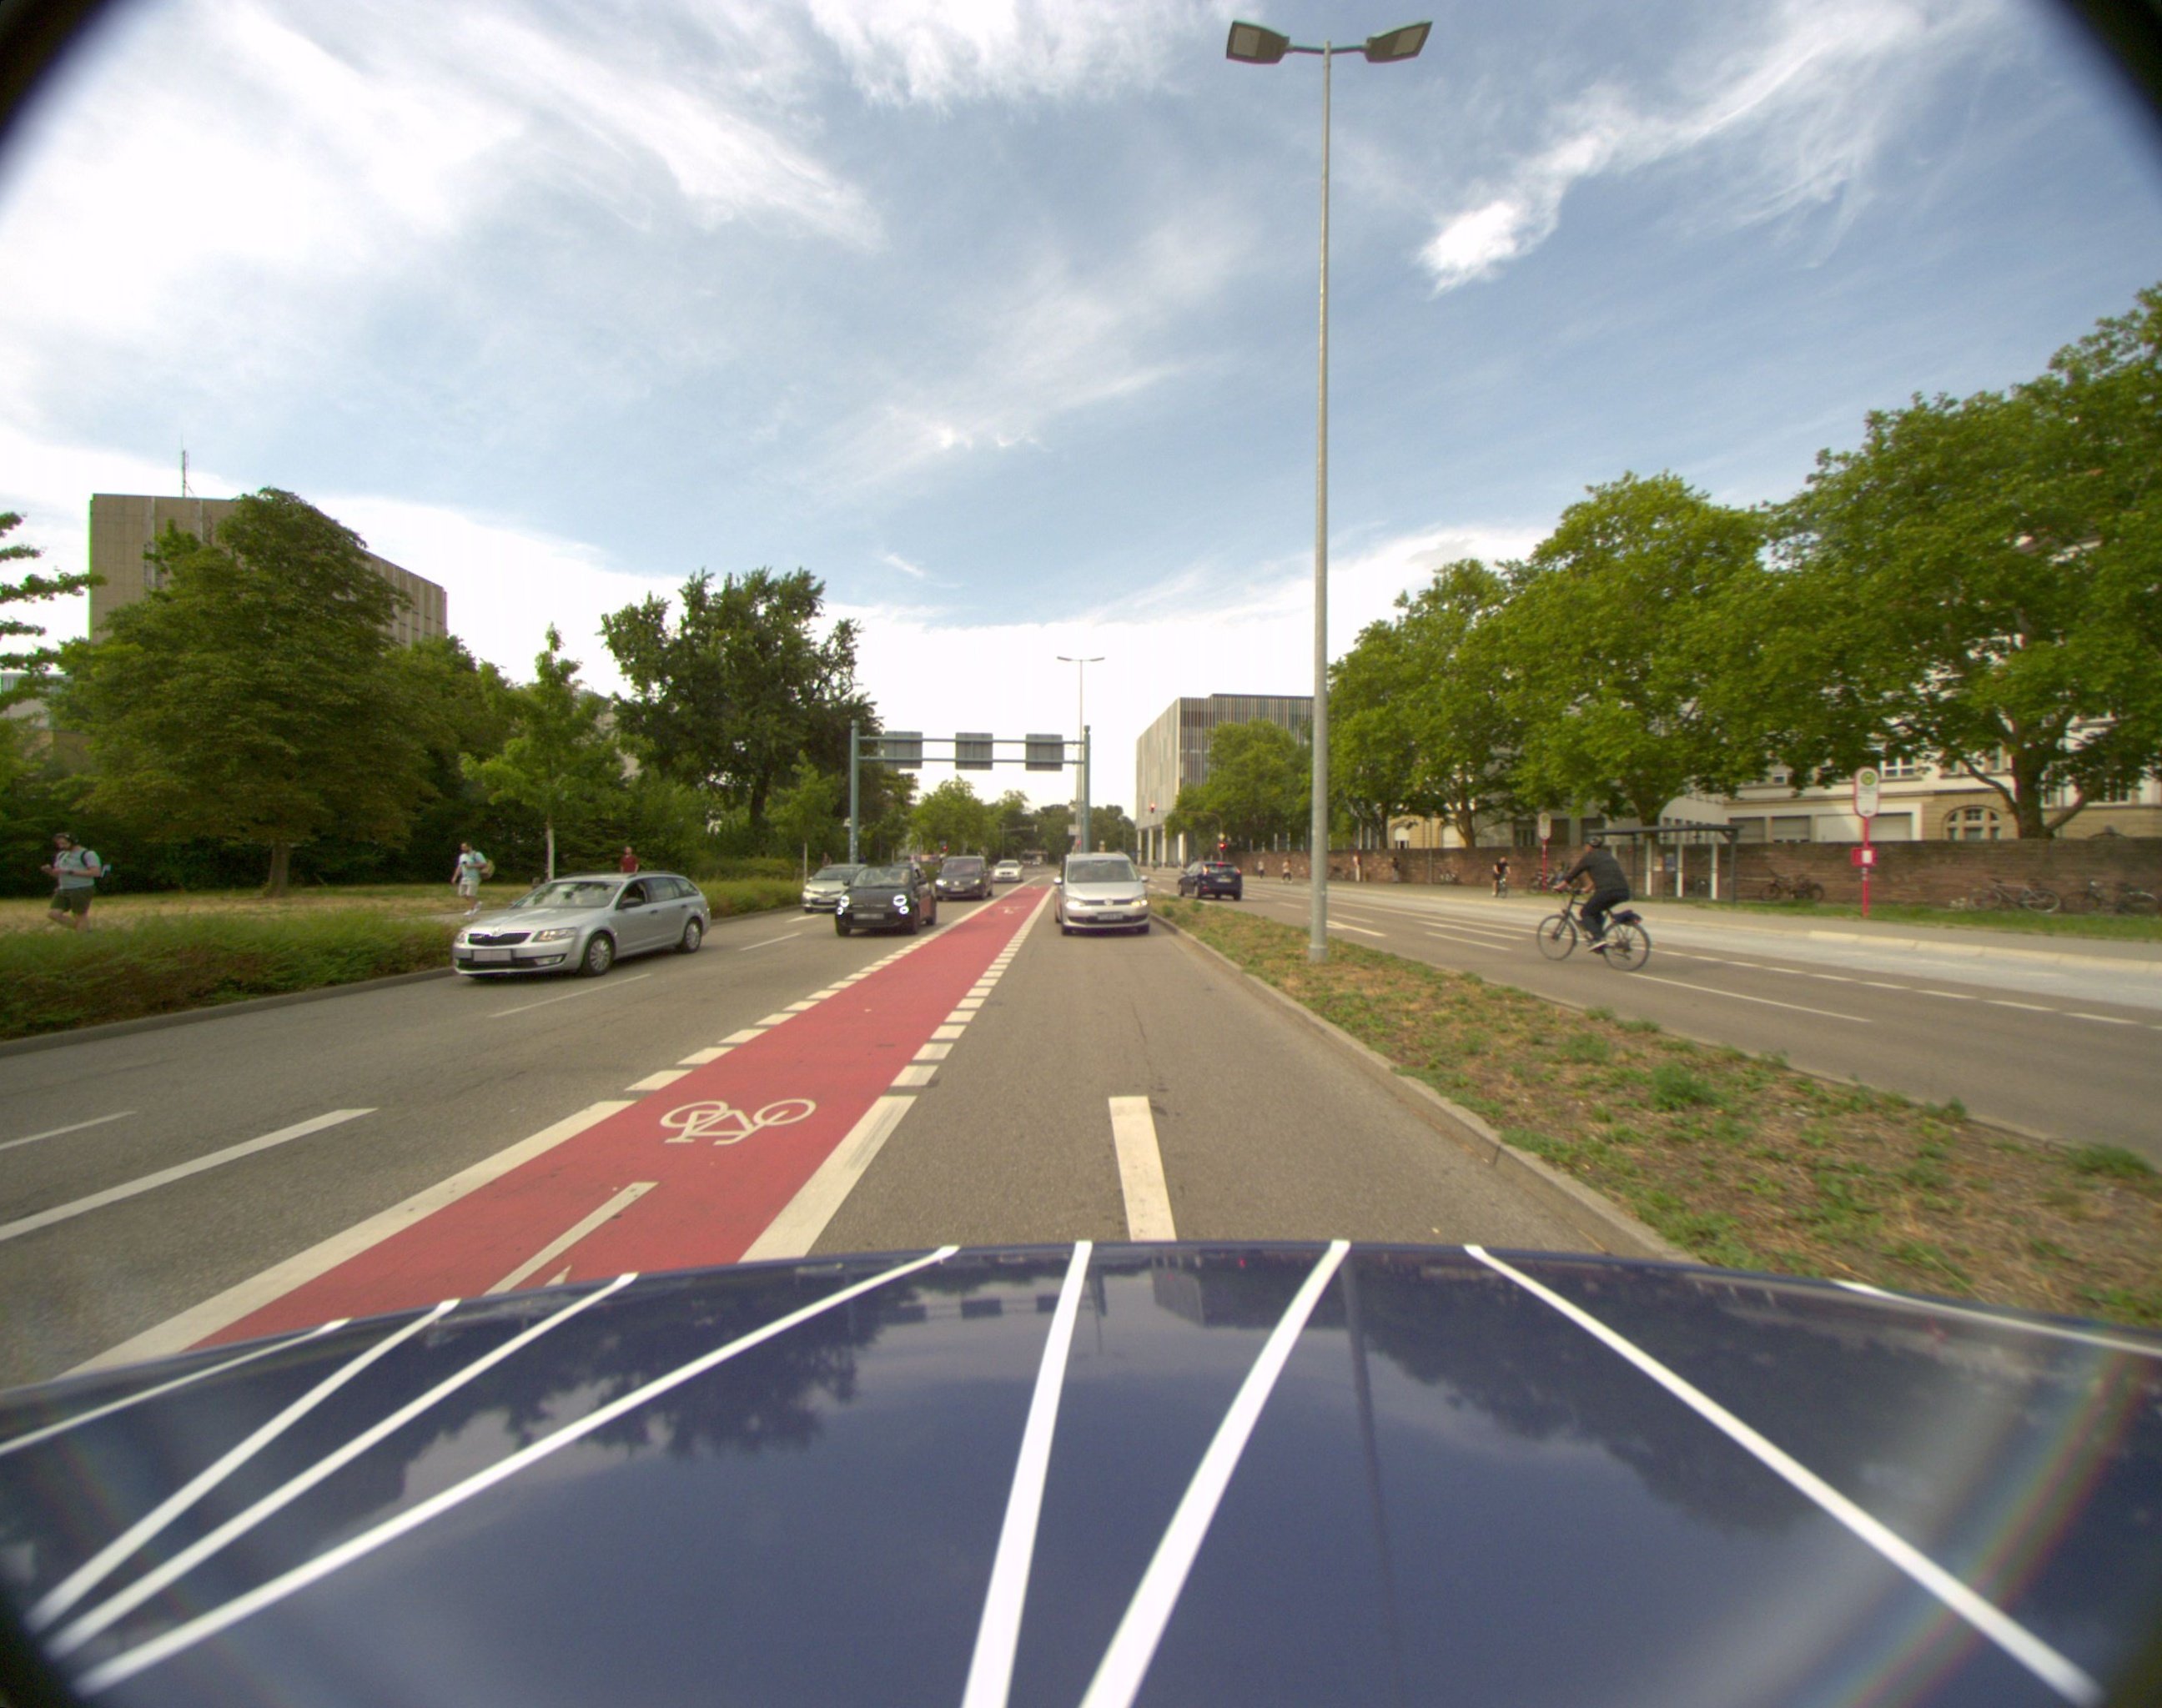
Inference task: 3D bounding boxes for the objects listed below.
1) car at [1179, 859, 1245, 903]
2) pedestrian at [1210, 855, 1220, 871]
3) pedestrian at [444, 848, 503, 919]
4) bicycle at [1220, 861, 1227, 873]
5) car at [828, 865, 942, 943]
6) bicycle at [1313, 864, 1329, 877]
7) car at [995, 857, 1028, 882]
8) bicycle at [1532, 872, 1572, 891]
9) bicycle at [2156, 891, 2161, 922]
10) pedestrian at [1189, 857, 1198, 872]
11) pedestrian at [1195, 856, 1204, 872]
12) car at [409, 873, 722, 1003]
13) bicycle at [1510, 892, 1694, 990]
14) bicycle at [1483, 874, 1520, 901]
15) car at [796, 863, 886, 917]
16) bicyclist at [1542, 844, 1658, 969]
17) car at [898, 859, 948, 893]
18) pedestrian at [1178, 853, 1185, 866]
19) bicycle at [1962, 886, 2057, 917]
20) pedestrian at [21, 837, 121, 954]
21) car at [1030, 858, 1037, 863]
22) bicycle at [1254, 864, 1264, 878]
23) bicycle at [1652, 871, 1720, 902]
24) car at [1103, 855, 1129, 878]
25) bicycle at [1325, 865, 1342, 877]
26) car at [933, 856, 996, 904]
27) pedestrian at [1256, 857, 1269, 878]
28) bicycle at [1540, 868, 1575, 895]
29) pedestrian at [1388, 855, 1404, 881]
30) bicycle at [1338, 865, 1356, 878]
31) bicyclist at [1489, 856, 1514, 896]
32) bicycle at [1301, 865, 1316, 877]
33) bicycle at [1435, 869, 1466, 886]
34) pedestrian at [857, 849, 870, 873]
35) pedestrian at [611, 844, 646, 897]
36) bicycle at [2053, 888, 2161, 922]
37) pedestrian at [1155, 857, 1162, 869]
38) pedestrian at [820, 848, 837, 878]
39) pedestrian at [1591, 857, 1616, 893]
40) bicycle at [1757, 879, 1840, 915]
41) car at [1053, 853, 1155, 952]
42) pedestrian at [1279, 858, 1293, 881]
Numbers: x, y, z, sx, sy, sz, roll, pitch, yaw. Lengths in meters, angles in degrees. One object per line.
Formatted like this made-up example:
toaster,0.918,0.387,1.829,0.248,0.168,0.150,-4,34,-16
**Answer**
car,5.051,1.005,29.919,1.789,1.481,4.129,2,1,-1
pedestrian,13.809,0.924,78.378,0.755,1.612,0.665,-1,1,-6
pedestrian,-14.918,0.710,18.677,0.842,1.701,0.694,-1,1,-4
bicycle,15.081,1.337,80.521,0.513,1.202,1.395,-1,1,-1
car,-4.289,1.048,17.107,1.670,1.481,3.440,-1,1,-1
bicycle,18.155,1.251,57.498,0.433,0.882,1.574,-3,0,-11
car,-4.446,0.943,48.988,1.759,1.450,4.223,-1,1,-1
bicycle,23.204,1.330,37.436,0.662,0.882,1.573,-3,0,-20
bicycle,30.168,1.451,20.148,0.359,0.859,1.887,3,-1,-19
pedestrian,12.020,1.104,80.994,0.755,1.612,0.665,-1,1,-6
pedestrian,12.706,1.081,81.737,0.755,1.612,0.665,-1,1,-6
car,-7.644,1.132,11.959,1.824,1.466,4.527,-1,1,-1
bicycle,7.436,1.193,10.991,0.760,1.182,2.094,3,-1,-22
bicycle,16.853,1.339,30.514,0.505,0.930,1.971,0,2,4
car,-7.585,1.086,24.390,1.670,1.481,3.875,-1,1,-1
bicyclist,7.463,0.728,10.958,0.779,1.701,1.083,3,-1,-22
car,-7.283,0.999,35.353,1.670,1.407,3.456,-1,1,-2
pedestrian,13.703,0.745,103.194,0.755,1.612,0.665,-1,1,-6
bicycle,28.820,1.454,23.614,0.359,0.859,1.819,3,-1,-23
pedestrian,-15.096,0.601,11.377,0.544,1.686,0.694,2,1,-4
car,-16.202,2.070,258.518,1.998,1.565,4.000,-1,1,3
bicycle,16.250,1.533,69.379,0.513,1.202,1.395,-1,1,-1
bicycle,25.255,1.337,31.765,0.760,1.182,2.094,3,-1,-22
car,2.708,0.940,59.419,1.759,1.615,3.867,-1,1,-1
bicycle,18.604,1.253,55.932,0.433,0.882,1.574,-3,0,-11
car,-4.468,0.943,29.852,1.759,1.641,4.685,-1,1,-1
pedestrian,14.446,1.081,60.470,0.755,1.612,0.665,-1,1,-6
bicycle,22.528,1.308,35.904,2.103,1.182,0.756,3,-1,-40
pedestrian,19.942,0.898,48.053,0.756,1.612,0.664,-2,1,-41
bicycle,18.894,1.263,54.010,0.433,0.882,1.574,-3,0,-11
bicyclist,16.841,0.869,30.440,0.579,1.547,0.798,0,2,3
bicycle,17.749,1.337,59.348,0.433,0.882,1.574,-3,0,-11
bicycle,21.256,1.347,43.766,0.662,0.882,1.573,-3,0,-20
pedestrian,-15.329,0.498,53.577,0.714,1.701,0.695,-1,1,-1
pedestrian,-14.956,0.544,25.127,0.714,1.701,0.695,-1,1,-1
bicycle,29.525,1.451,21.913,0.359,0.859,1.806,3,-1,-21
pedestrian,10.789,1.208,106.125,0.755,1.612,0.665,-1,1,-6
pedestrian,-14.842,0.524,44.717,0.714,1.701,0.695,-1,1,-1
pedestrian,23.963,0.966,34.829,0.569,1.612,0.753,-2,1,-23
bicycle,26.556,1.572,28.172,0.760,1.182,2.094,3,-1,-22
car,0.389,0.878,16.092,1.824,1.724,4.527,-1,1,-1
pedestrian,14.582,1.079,54.010,0.755,1.612,0.665,-1,1,-6
